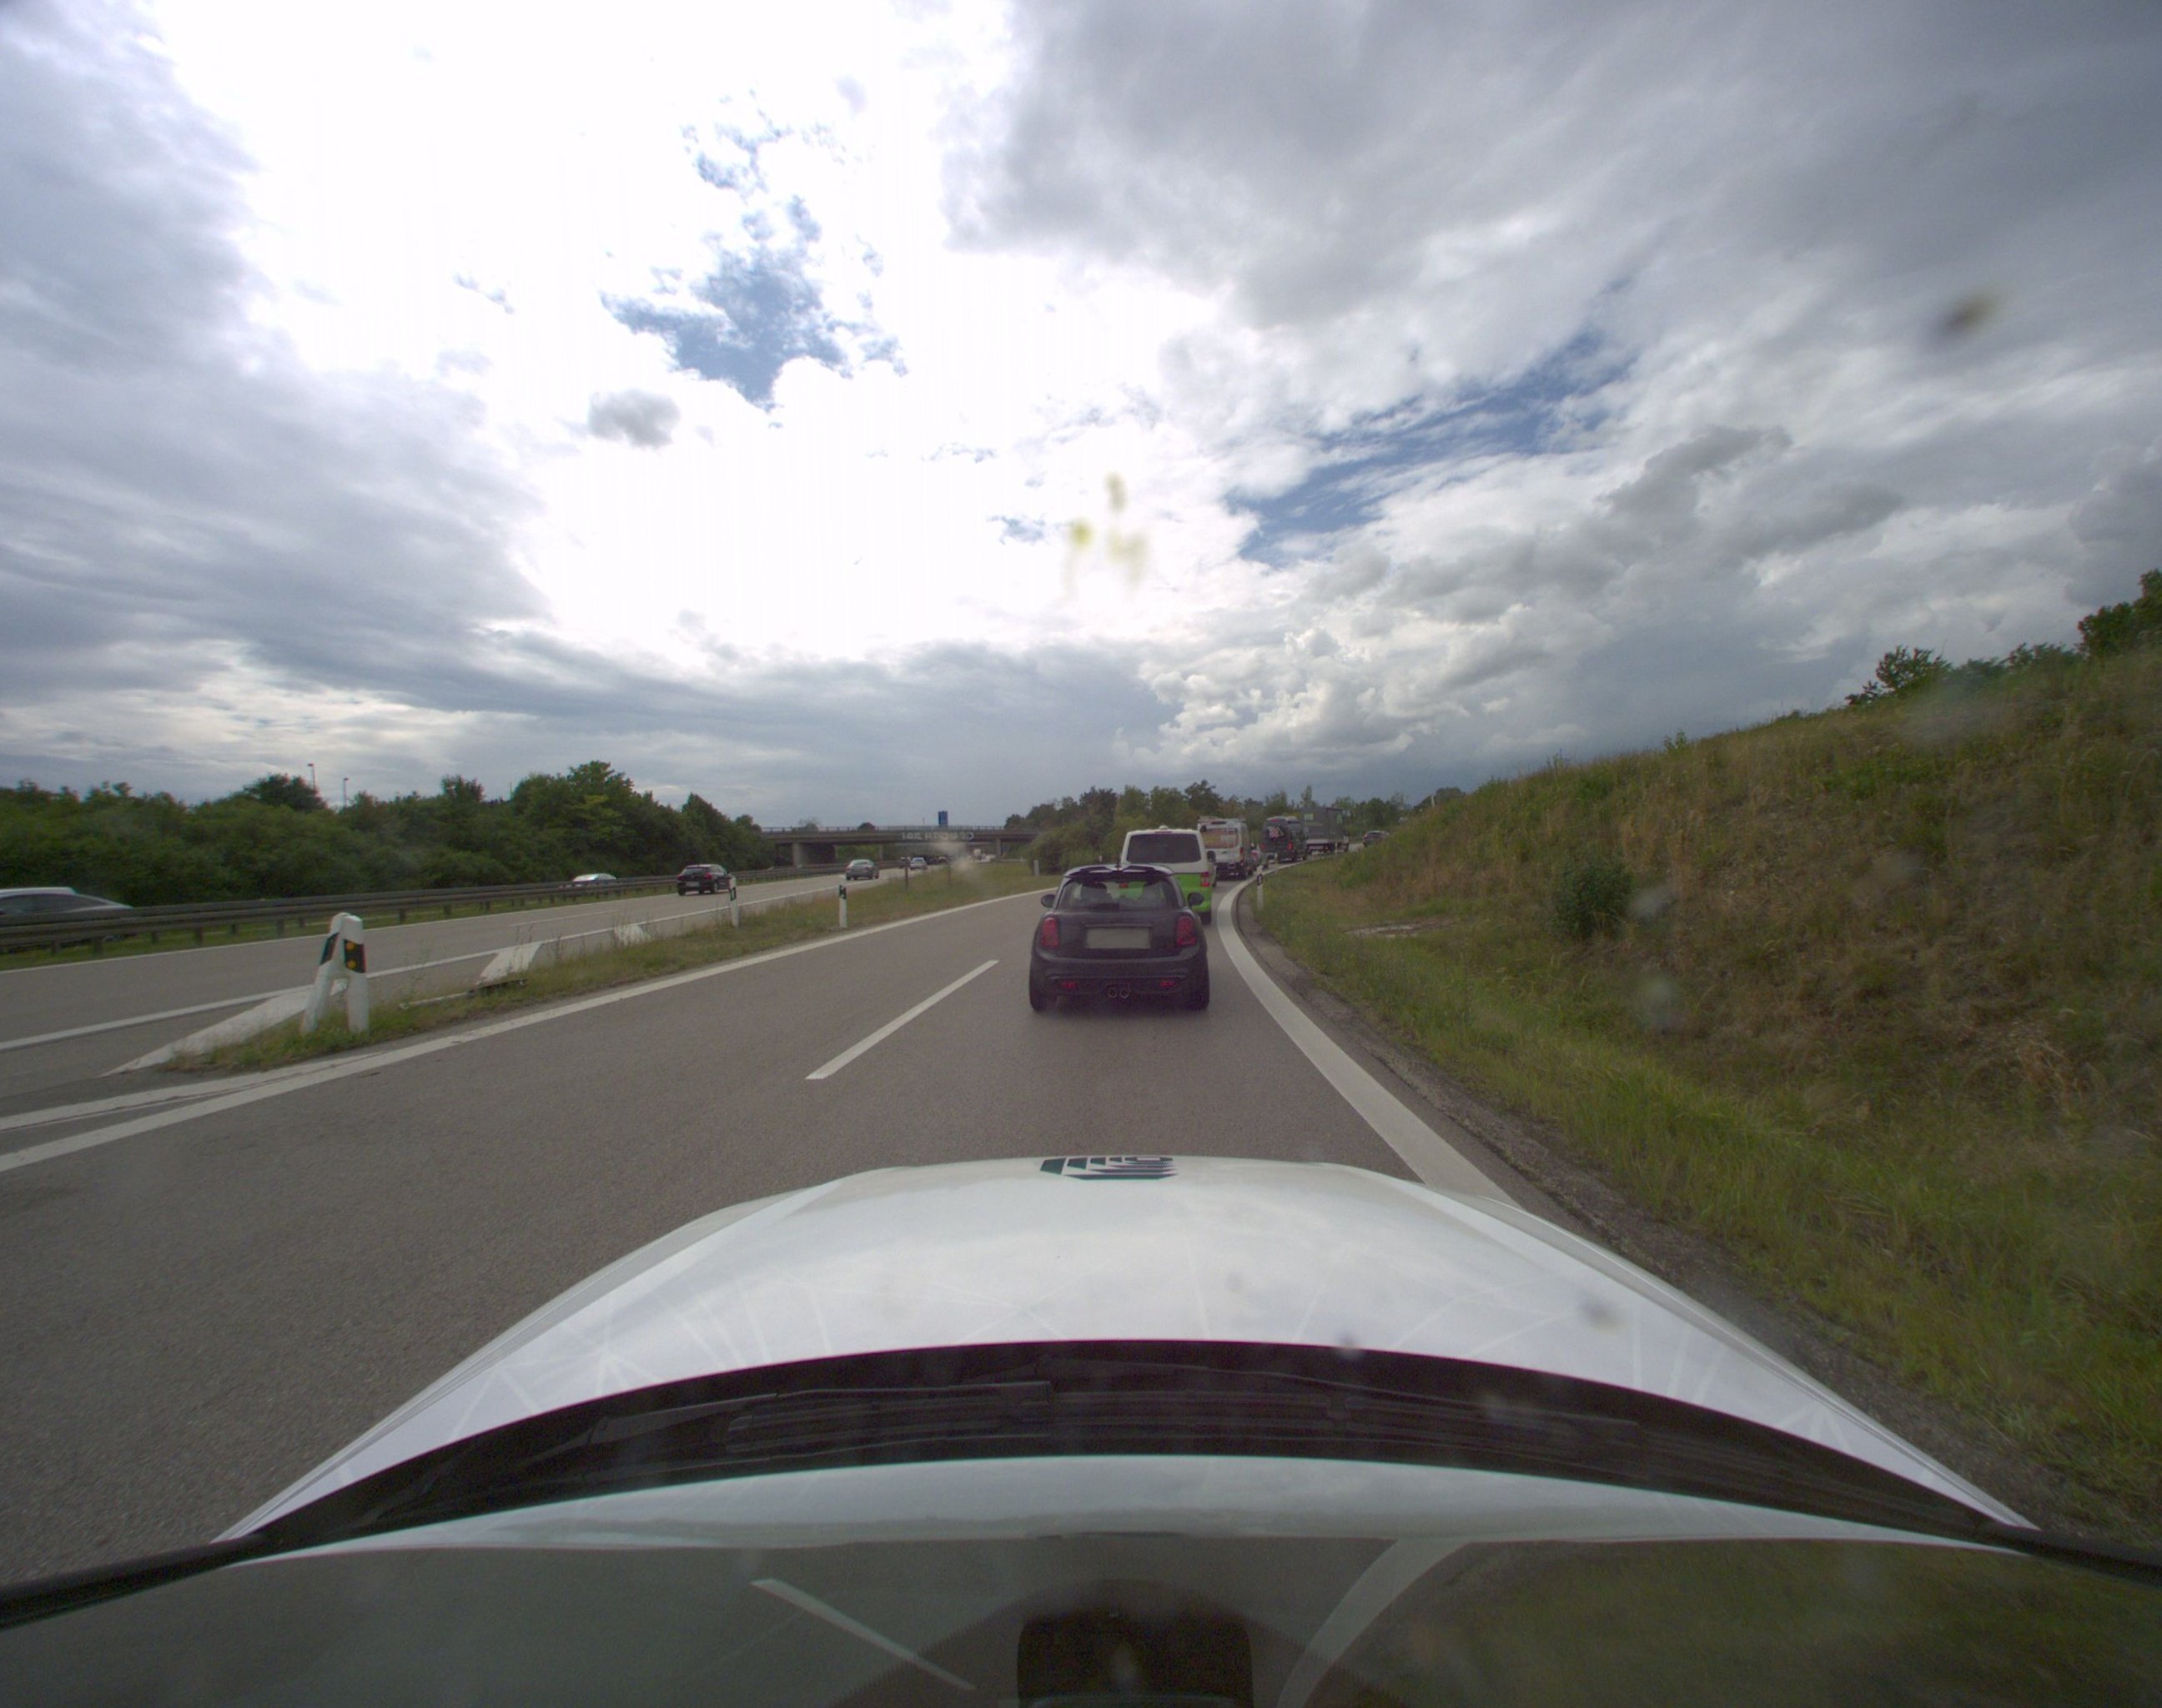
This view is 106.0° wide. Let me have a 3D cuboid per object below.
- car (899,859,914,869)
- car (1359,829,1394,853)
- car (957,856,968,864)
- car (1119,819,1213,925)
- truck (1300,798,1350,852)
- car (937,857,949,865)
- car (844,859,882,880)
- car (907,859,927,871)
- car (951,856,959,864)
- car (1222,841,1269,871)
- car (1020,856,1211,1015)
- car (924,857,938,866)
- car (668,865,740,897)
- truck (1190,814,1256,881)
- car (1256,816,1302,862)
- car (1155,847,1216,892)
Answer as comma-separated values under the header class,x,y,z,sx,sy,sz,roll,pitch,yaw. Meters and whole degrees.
class,x,y,z,sx,sy,sz,roll,pitch,yaw
car,-25.666,1.472,119.763,1.778,1.398,4.295,-2,0,-7
car,27.041,-1.151,74.455,1.974,2.014,4.025,-1,-1,37
car,-27.459,1.352,188.634,2.091,1.670,4.301,-2,0,-3
car,1.939,0.346,17.662,1.774,2.013,4.010,-1,0,9
truck,19.049,-2.163,63.368,2.207,3.906,6.054,-1,-1,31
car,-31.438,1.500,185.650,2.155,1.670,4.301,-2,0,-3
car,-15.743,1.111,58.997,1.776,1.398,4.543,-2,0,-4
car,-19.967,1.299,99.469,1.776,1.398,4.024,-2,0,-3
car,-35.176,1.692,227.944,2.067,2.014,3.990,0,-1,-7
car,8.871,0.099,43.715,1.850,1.510,4.020,-1,0,20
car,0.407,0.757,9.327,1.720,1.413,3.728,-1,0,3
car,-29.459,1.446,160.147,2.091,1.670,4.301,-2,0,-3
car,-18.385,1.275,39.930,1.777,1.398,4.299,-2,0,-4
truck,6.349,-0.313,35.838,2.161,2.658,5.132,-2,1,17
car,12.551,-0.932,51.457,2.086,2.796,4.023,-1,0,25
car,3.675,0.501,28.108,1.750,1.398,3.737,-2,0,12
